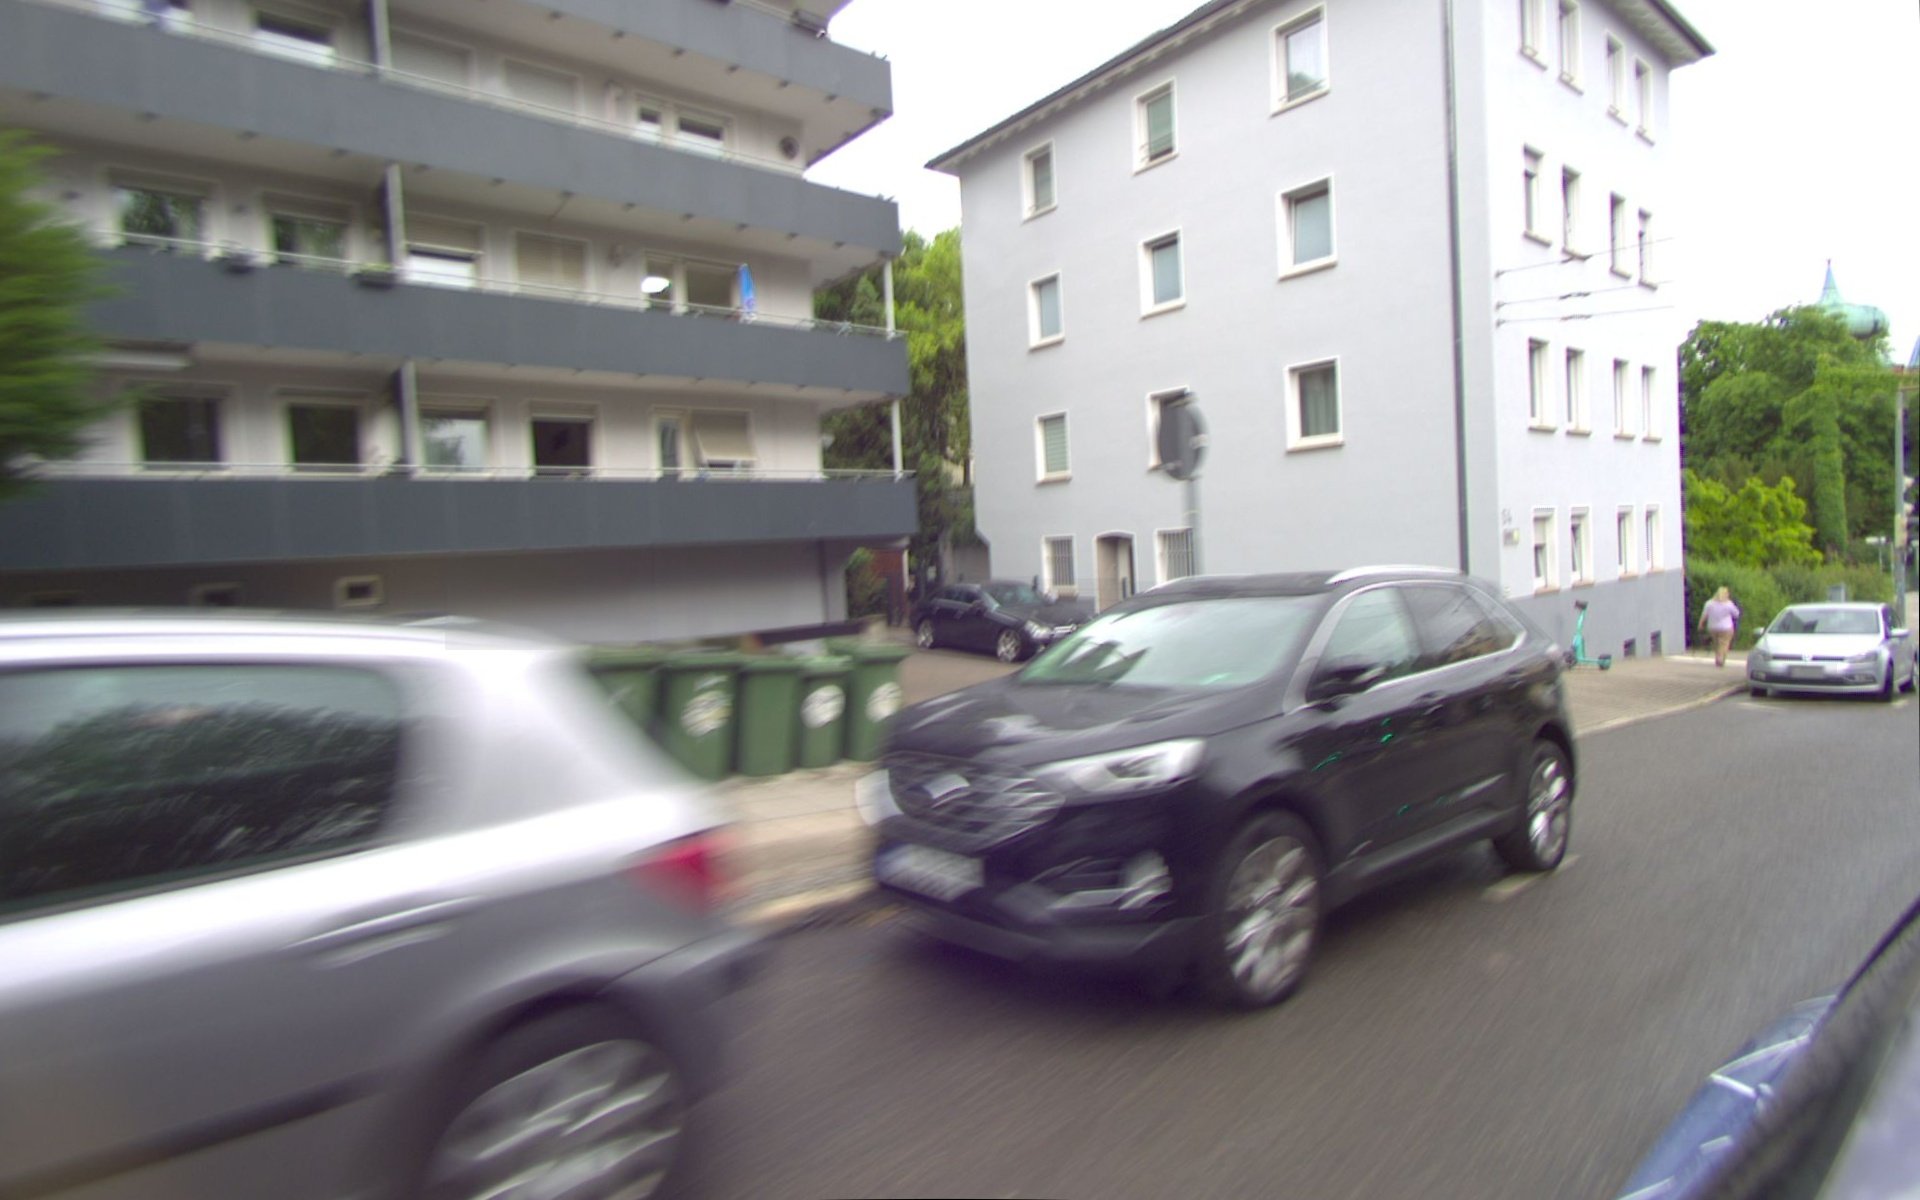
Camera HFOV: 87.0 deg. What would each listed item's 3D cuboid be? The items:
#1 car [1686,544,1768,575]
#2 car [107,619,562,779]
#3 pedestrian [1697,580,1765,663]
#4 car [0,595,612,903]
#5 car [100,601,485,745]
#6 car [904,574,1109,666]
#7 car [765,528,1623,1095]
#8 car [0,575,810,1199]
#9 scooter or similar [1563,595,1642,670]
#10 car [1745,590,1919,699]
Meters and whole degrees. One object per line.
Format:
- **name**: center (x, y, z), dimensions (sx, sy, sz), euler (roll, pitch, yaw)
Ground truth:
- **car**: center (46.271, -2.462, 61.180), dimensions (1.809, 1.716, 4.200), euler (-4, 2, 3)
- **car**: center (-7.244, 1.008, 12.013), dimensions (4.352, 1.396, 1.780), euler (-2, 0, -40)
- **pedestrian**: center (15.499, 0.425, 20.341), dimensions (0.786, 1.603, 0.885), euler (1, 1, -37)
- **car**: center (-5.055, 0.915, 7.716), dimensions (4.133, 1.533, 1.723), euler (-6, 3, -40)
- **car**: center (-8.829, 0.843, 13.614), dimensions (4.130, 1.540, 1.688), euler (-2, 1, -40)
- **car**: center (0.774, 0.280, 19.802), dimensions (1.784, 1.449, 4.387), euler (-4, 4, -33)
- **car**: center (1.525, 0.601, 5.213), dimensions (4.607, 1.663, 1.909), euler (-1, -1, -41)
- **car**: center (-2.532, 0.725, 1.878), dimensions (4.176, 1.446, 1.707), euler (-1, -1, -41)
- **scooter or similar**: center (11.517, 0.565, 18.126), dimensions (1.579, 1.265, 0.577), euler (0, 2, -34)
- **car**: center (13.906, 0.614, 15.864), dimensions (4.030, 1.451, 1.707), euler (-1, -1, -41)
